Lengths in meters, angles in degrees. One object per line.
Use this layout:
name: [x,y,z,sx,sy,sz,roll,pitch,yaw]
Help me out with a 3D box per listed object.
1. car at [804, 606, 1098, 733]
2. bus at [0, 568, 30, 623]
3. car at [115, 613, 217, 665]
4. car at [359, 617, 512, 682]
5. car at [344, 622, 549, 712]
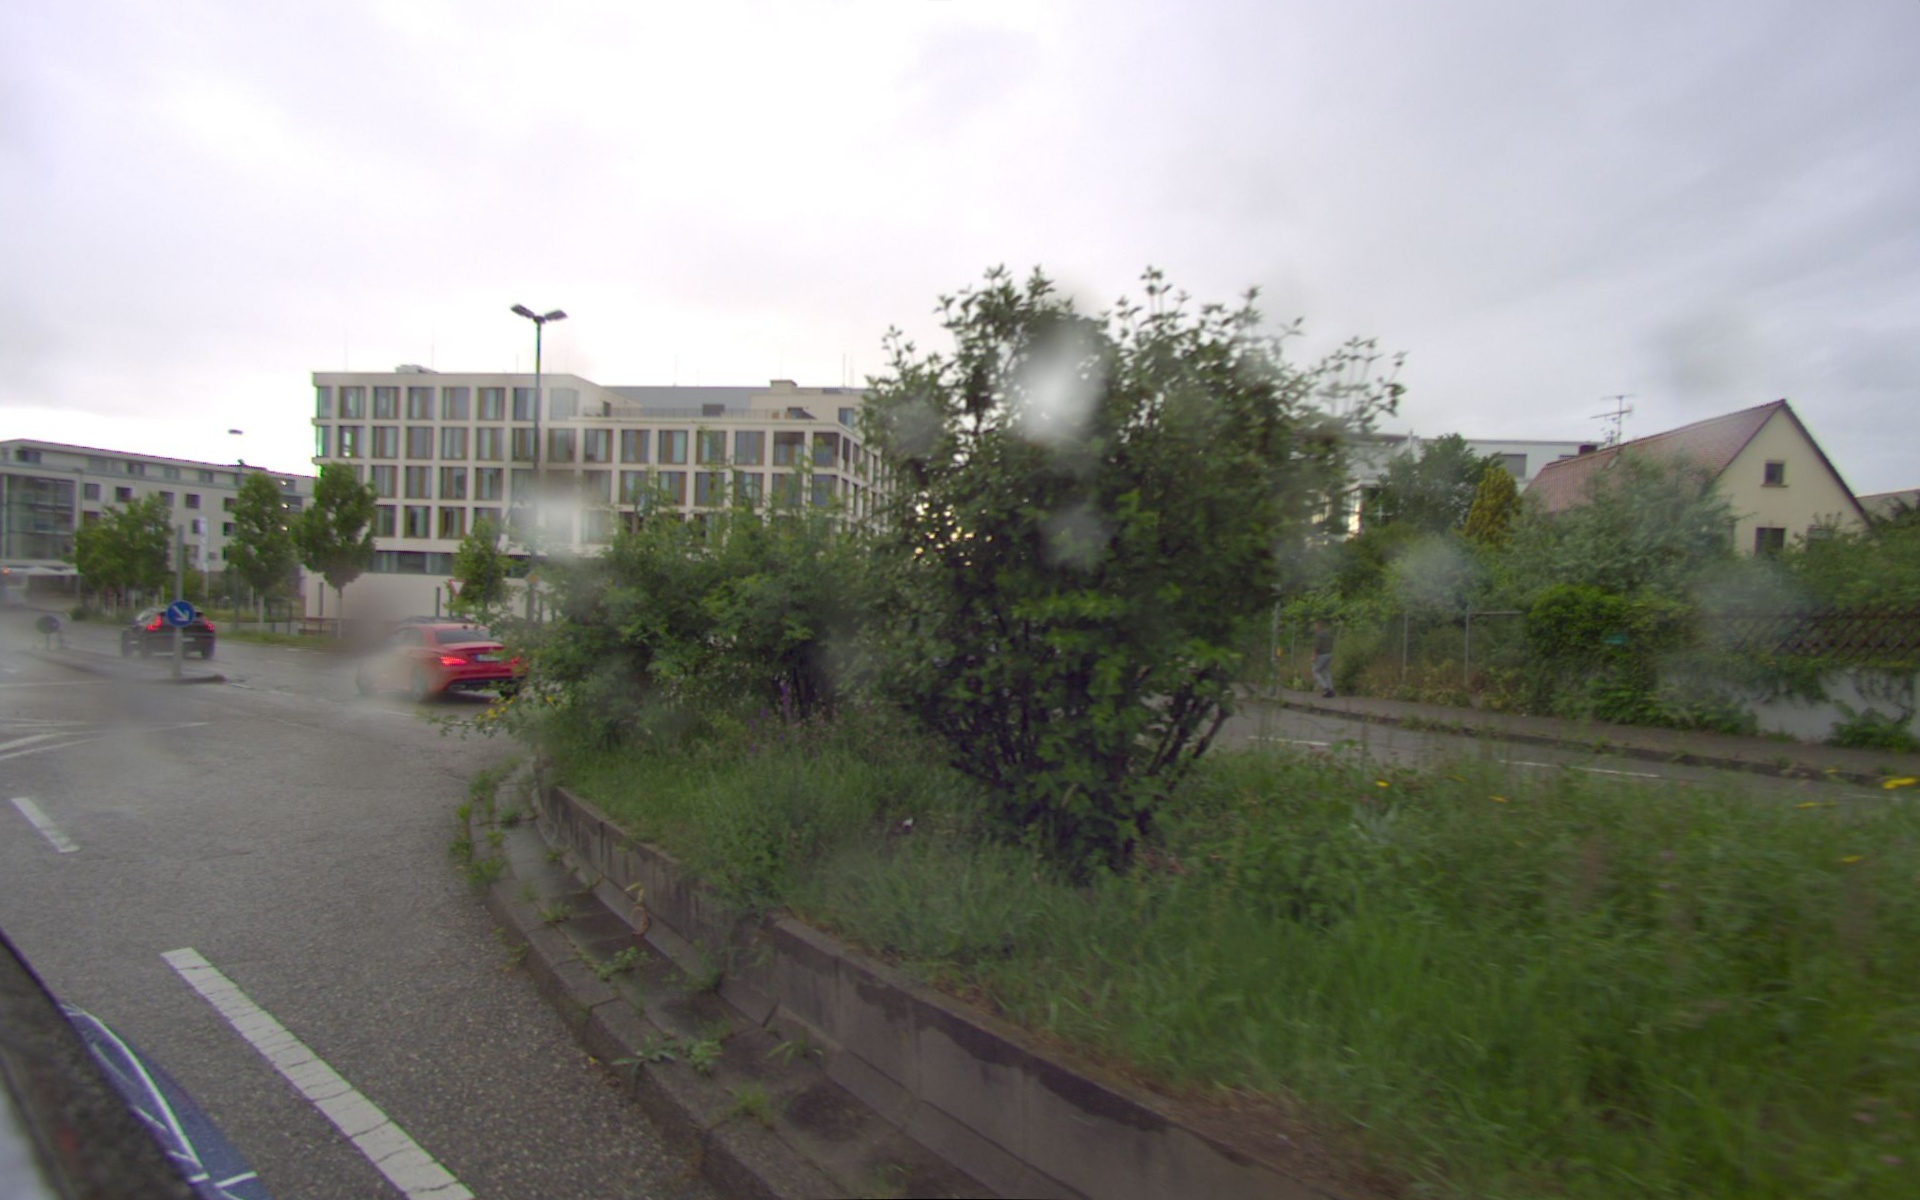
car: [-0.208,0.921,14.731,3.998,1.590,1.973,-1,-2,41]
bus: [-77.645,-0.387,79.711,18.194,4.025,2.917,0,-2,36]
car: [-26.018,1.244,33.123,4.073,1.564,1.883,0,-2,41]
car: [-13.625,1.260,26.202,4.292,1.489,1.930,0,-3,39]
car: [-9.827,1.172,19.229,4.429,1.424,1.972,0,-1,41]
